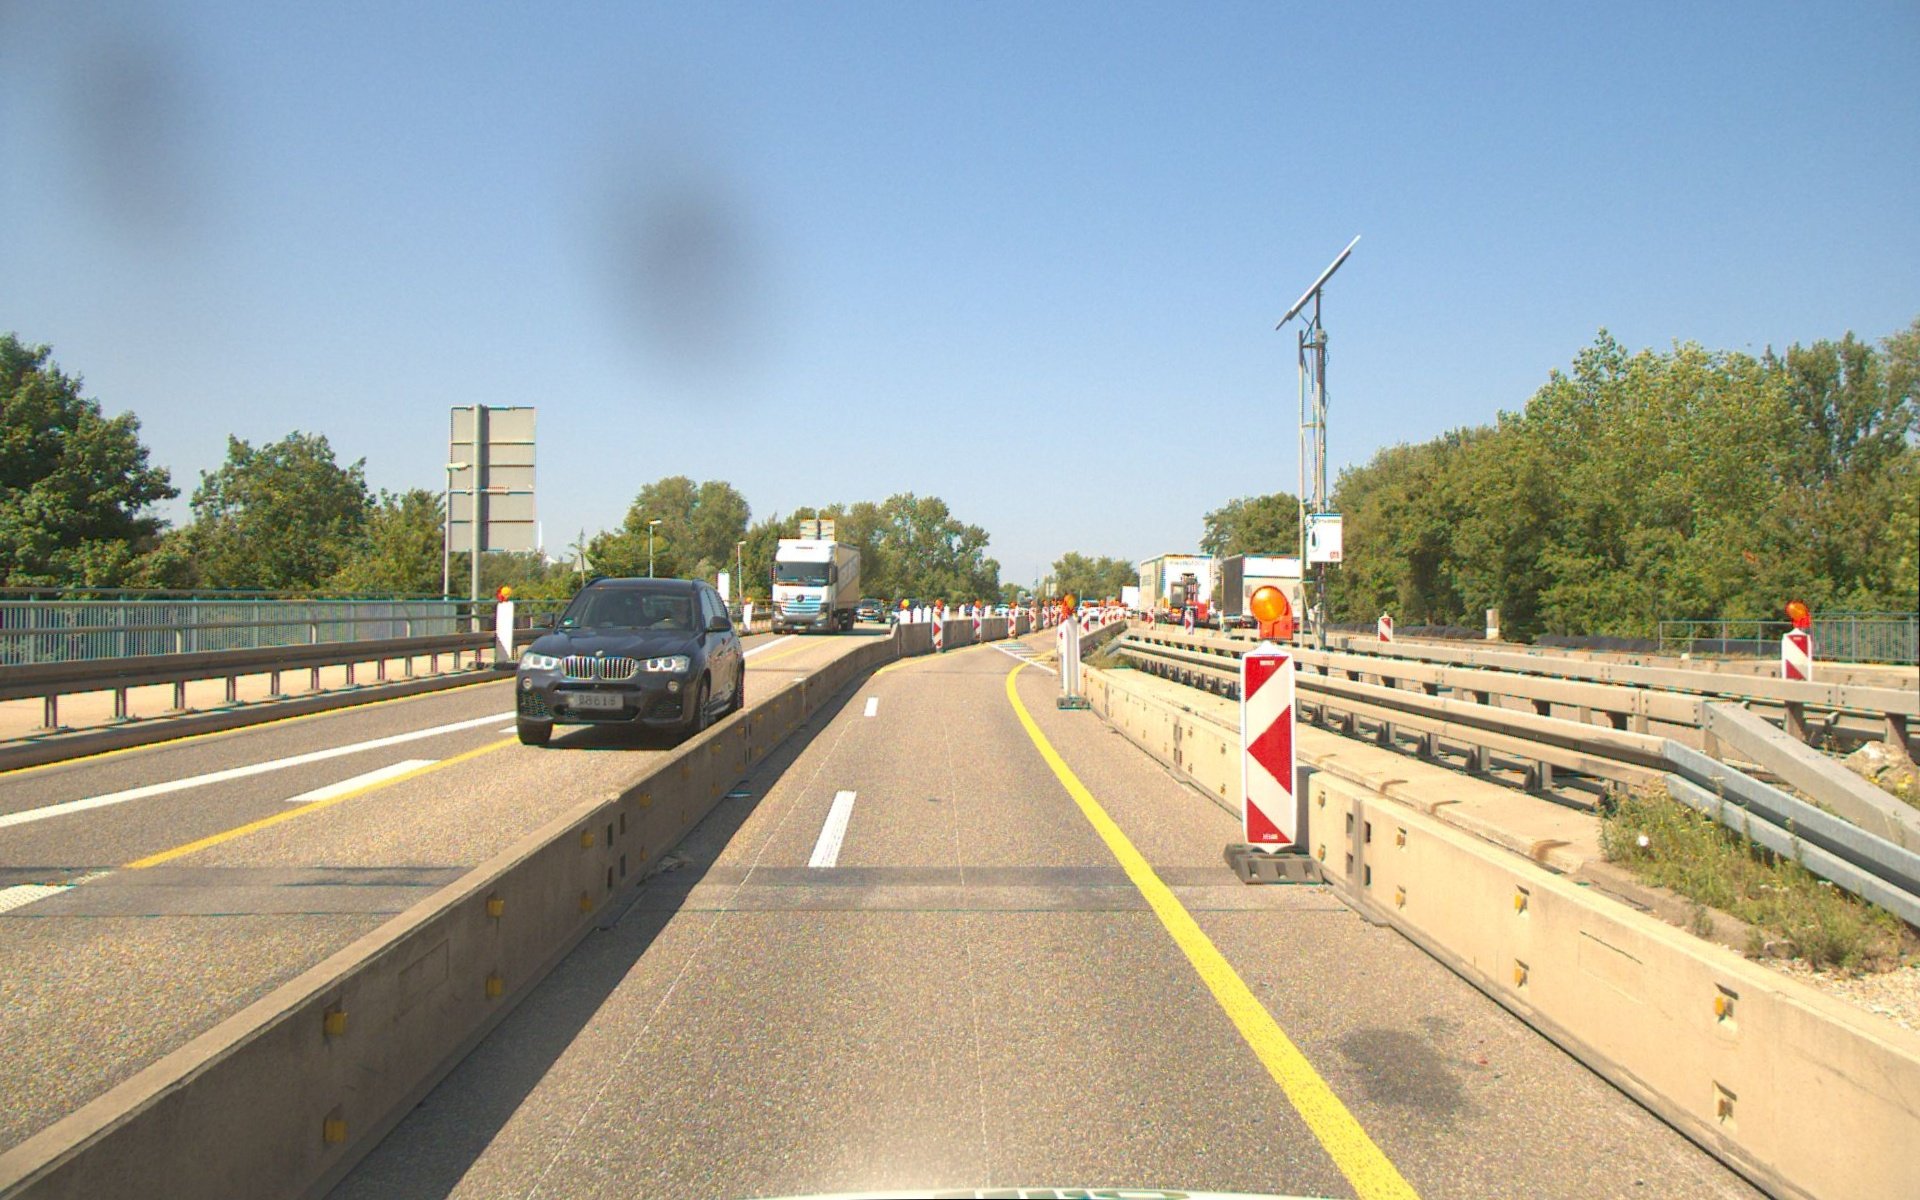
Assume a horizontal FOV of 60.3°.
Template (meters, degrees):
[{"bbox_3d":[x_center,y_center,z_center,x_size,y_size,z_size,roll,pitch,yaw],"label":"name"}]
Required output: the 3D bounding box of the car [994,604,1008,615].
[{"bbox_3d":[5.417,1.278,216.818,1.683,1.421,4.521,1,0,3],"label":"car"}]

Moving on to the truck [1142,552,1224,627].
[{"bbox_3d":[11.862,-0.524,88.692,3.319,3.840,7.232,0,0,-1],"label":"truck"}]

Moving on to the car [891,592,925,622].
[{"bbox_3d":[-2.857,0.372,91.309,1.754,1.596,3.872,0,0,0],"label":"car"}]

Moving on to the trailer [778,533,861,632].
[{"bbox_3d":[-6.432,-0.712,77.996,2.704,4.209,14.530,0,0,0],"label":"trailer"}]

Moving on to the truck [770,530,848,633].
[{"bbox_3d":[-6.431,-0.750,71.266,2.693,4.209,6.415,0,0,0],"label":"truck"}]

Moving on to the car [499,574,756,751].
[{"bbox_3d":[-3.411,0.580,17.864,1.825,1.660,4.566,0,0,0],"label":"car"}]

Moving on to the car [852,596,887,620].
[{"bbox_3d":[-5.943,0.486,108.793,1.892,1.534,4.470,0,0,2],"label":"car"}]

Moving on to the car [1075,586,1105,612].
[{"bbox_3d":[9.342,-0.062,118.876,1.779,1.807,3.999,0,0,0],"label":"car"}]

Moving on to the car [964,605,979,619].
[{"bbox_3d":[1.354,1.399,192.810,1.701,1.502,4.646,0,0,2],"label":"car"}]

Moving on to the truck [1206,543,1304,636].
[{"bbox_3d":[11.707,-0.411,66.297,2.580,3.487,7.232,0,0,0],"label":"truck"}]

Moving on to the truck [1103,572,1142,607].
[{"bbox_3d":[20.543,-1.249,209.882,4.132,4.341,10.242,0,0,1],"label":"truck"}]

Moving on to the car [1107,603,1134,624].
[{"bbox_3d":[14.211,1.222,146.690,1.953,1.807,3.999,0,0,-1],"label":"car"}]
